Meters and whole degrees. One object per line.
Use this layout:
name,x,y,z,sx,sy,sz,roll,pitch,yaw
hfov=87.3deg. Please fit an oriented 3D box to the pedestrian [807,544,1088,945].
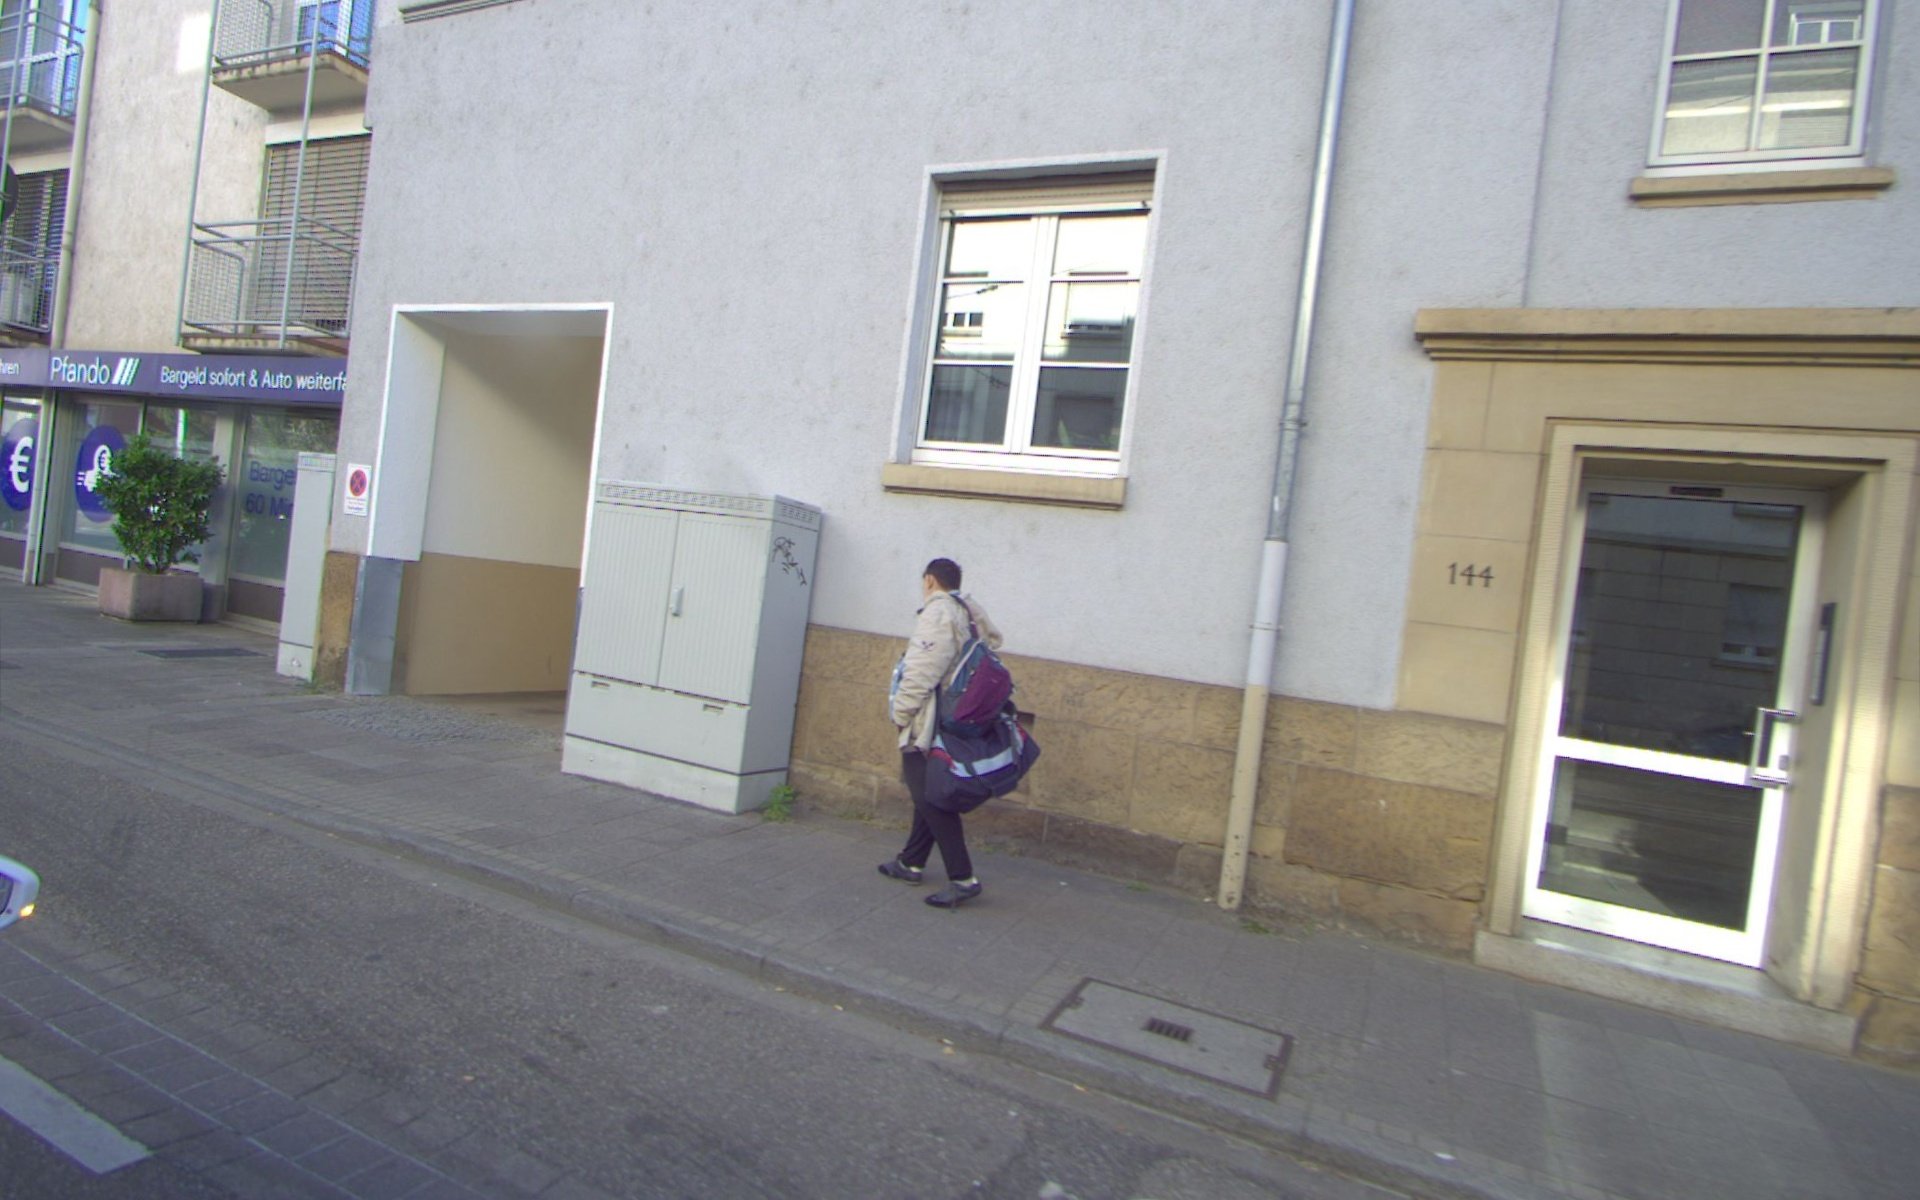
pedestrian,-0.035,0.591,4.607,0.854,1.554,0.826,7,3,26
